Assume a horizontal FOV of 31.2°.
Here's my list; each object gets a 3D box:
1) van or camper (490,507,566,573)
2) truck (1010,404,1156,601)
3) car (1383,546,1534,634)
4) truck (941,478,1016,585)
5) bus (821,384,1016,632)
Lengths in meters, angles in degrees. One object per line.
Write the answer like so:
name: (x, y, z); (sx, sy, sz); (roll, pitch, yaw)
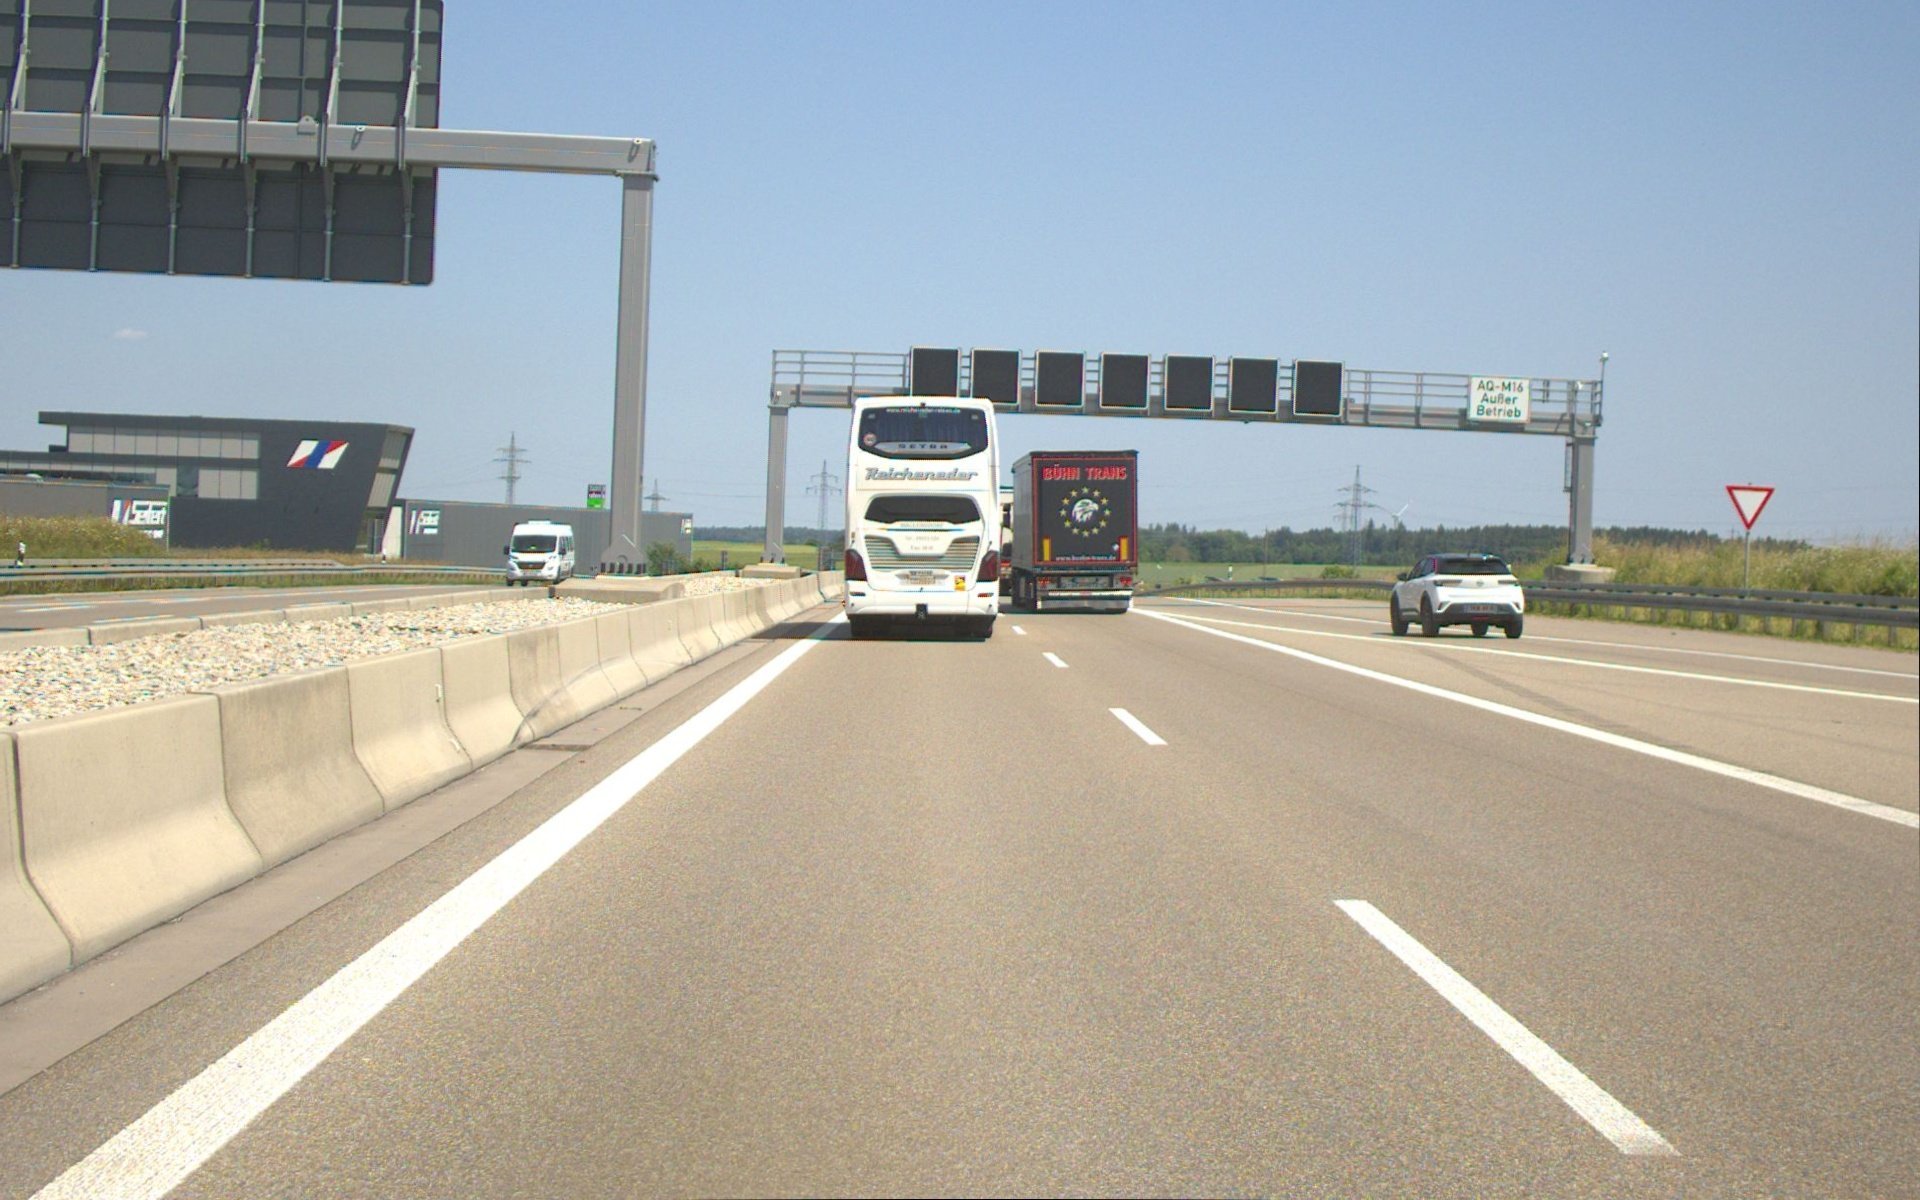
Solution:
van or camper: (-17.146, -2.390, 136.701); (2.319, 2.549, 6.316); (1, 1, -1)
truck: (3.056, -2.341, 89.305); (3.379, 4.449, 13.566); (1, -1, 1)
car: (9.214, -0.216, 63.864); (1.890, 1.524, 4.263); (1, 1, -4)
truck: (0.640, -2.487, 125.502); (2.437, 3.776, 6.494); (1, 1, -2)
bus: (-0.854, -1.630, 60.219); (2.980, 3.961, 9.106); (1, 2, -3)
